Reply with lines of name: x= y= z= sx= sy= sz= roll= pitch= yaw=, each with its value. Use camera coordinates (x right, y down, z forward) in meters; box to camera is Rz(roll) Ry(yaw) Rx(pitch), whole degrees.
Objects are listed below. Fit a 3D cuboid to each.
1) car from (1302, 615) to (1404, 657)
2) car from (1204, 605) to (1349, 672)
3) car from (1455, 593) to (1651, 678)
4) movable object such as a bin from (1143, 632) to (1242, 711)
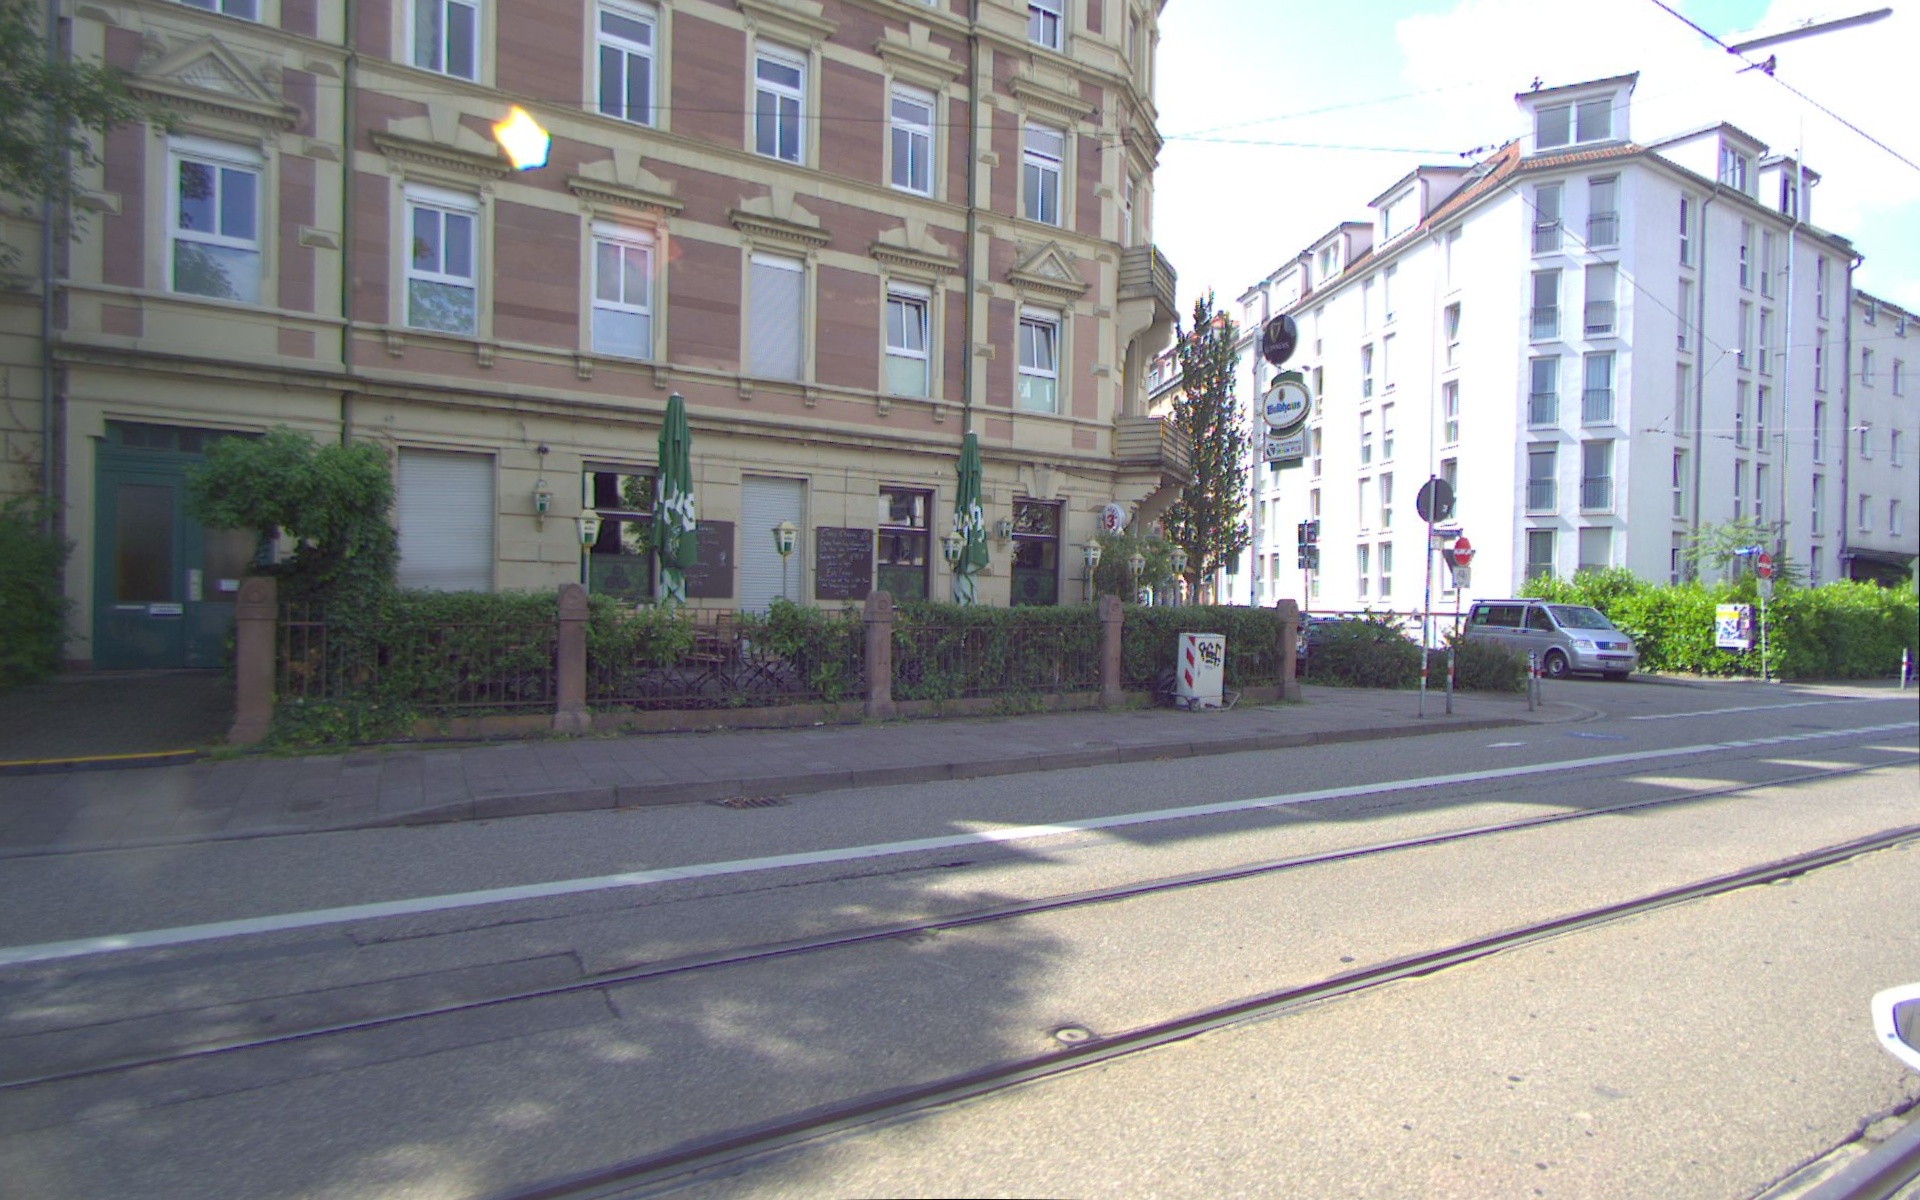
car: x=14.288 y=1.280 z=36.720 sx=1.757 sy=1.432 sz=3.967 roll=1 pitch=-1 yaw=-8
car: x=7.800 y=0.943 z=24.813 sx=3.128 sy=1.588 sz=1.391 roll=1 pitch=0 yaw=-11
car: x=15.533 y=0.866 z=26.663 sx=2.009 sy=2.040 sz=4.671 roll=1 pitch=0 yaw=-8
movable object such as a bin: x=3.202 y=0.965 z=13.838 sx=1.101 sy=1.001 sz=0.741 roll=1 pitch=2 yaw=-31
